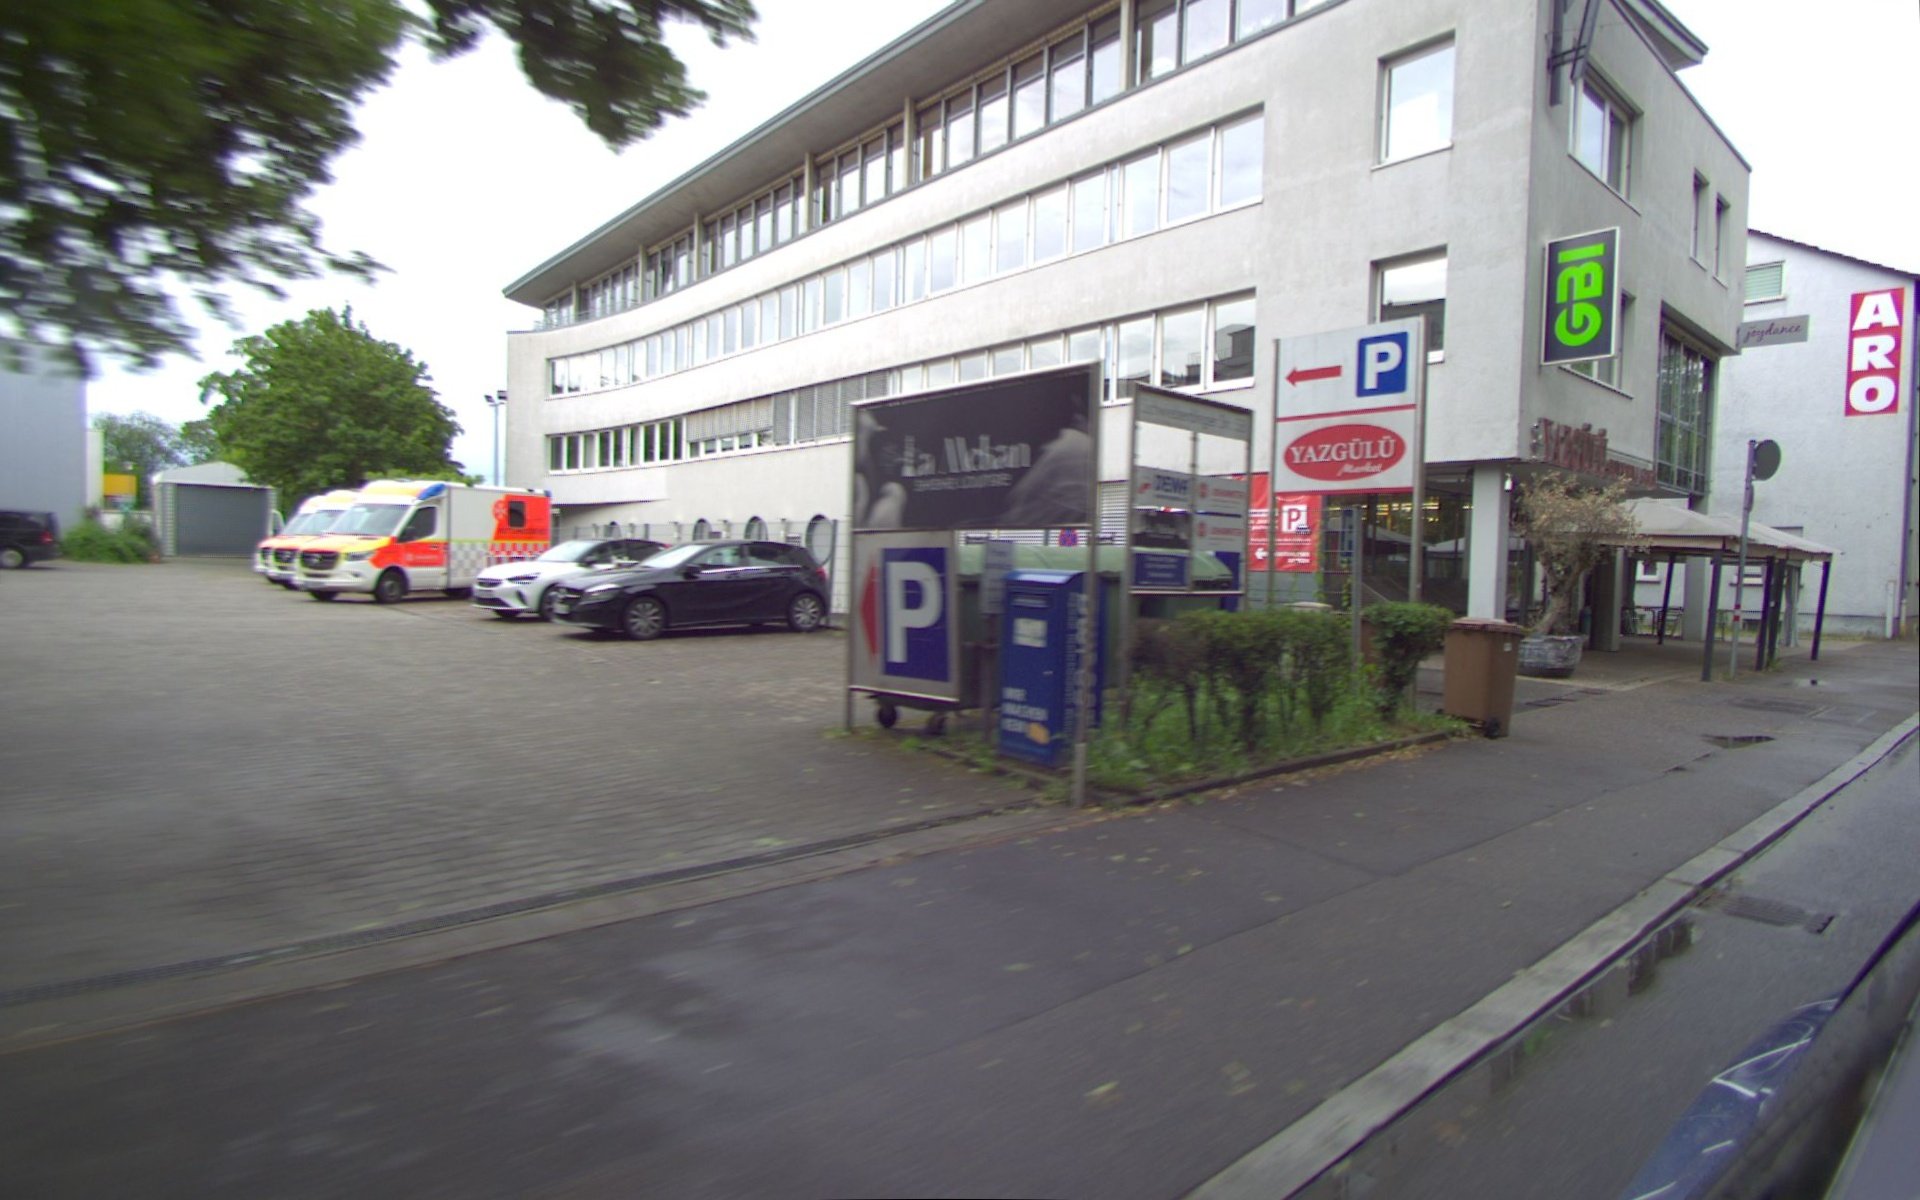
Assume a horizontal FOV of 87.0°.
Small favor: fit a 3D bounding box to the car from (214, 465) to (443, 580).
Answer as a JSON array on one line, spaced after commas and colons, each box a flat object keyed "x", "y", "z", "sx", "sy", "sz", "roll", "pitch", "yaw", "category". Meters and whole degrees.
[{"x": -19.364, "y": -2.229, "z": 31.491, "sx": 2.110, "sy": 3.163, "sz": 6.164, "roll": 0, "pitch": 1, "yaw": 17, "category": "car"}]

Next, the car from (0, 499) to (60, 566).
[{"x": -30.825, "y": -2.103, "z": 31.644, "sx": 3.930, "sy": 2.039, "sz": 1.997, "roll": -1, "pitch": 1, "yaw": -41, "category": "car"}]

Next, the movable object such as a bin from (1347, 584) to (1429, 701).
[{"x": 4.342, "y": 0.416, "z": 10.268, "sx": 0.551, "sy": 1.129, "sz": 0.532, "roll": 0, "pitch": 2, "yaw": -38, "category": "movable object such as a bin"}]

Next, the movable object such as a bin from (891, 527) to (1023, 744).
[{"x": -0.028, "y": 0.230, "z": 7.575, "sx": 0.615, "sy": 1.519, "sz": 0.738, "roll": 0, "pitch": 2, "yaw": -44, "category": "movable object such as a bin"}]

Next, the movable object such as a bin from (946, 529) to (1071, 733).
[{"x": 0.381, "y": 0.215, "z": 8.058, "sx": 0.615, "sy": 1.526, "sz": 0.738, "roll": 0, "pitch": 2, "yaw": -44, "category": "movable object such as a bin"}]

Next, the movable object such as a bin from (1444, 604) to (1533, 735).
[{"x": 4.872, "y": 0.615, "z": 9.336, "sx": 0.607, "sy": 1.129, "sz": 0.505, "roll": 0, "pitch": 2, "yaw": -41, "category": "movable object such as a bin"}]

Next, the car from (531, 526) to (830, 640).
[{"x": -4.122, "y": -0.316, "z": 15.302, "sx": 4.062, "sy": 1.504, "sz": 1.667, "roll": -2, "pitch": 4, "yaw": -41, "category": "car"}]

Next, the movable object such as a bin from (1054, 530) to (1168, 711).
[{"x": 1.337, "y": 0.154, "z": 8.976, "sx": 0.615, "sy": 1.526, "sz": 0.738, "roll": 0, "pitch": 2, "yaw": -44, "category": "movable object such as a bin"}]

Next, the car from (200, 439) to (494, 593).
[{"x": -14.294, "y": -1.789, "z": 24.217, "sx": 2.110, "sy": 3.163, "sz": 6.164, "roll": 0, "pitch": 1, "yaw": 17, "category": "car"}]

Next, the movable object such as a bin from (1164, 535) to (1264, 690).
[{"x": 2.613, "y": 0.108, "z": 10.432, "sx": 0.615, "sy": 1.526, "sz": 0.738, "roll": 0, "pitch": 2, "yaw": -44, "category": "movable object such as a bin"}]

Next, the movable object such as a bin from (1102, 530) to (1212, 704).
[{"x": 1.826, "y": 0.132, "z": 9.406, "sx": 0.615, "sy": 1.526, "sz": 0.738, "roll": 0, "pitch": 2, "yaw": -44, "category": "movable object such as a bin"}]

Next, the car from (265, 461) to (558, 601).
[{"x": -12.162, "y": -1.406, "z": 23.138, "sx": 2.110, "sy": 2.734, "sz": 6.164, "roll": 0, "pitch": 1, "yaw": 17, "category": "car"}]

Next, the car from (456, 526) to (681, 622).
[{"x": -6.826, "y": -0.471, "z": 17.928, "sx": 1.512, "sy": 1.504, "sz": 3.476, "roll": 3, "pitch": 3, "yaw": 34, "category": "car"}]

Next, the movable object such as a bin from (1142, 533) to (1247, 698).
[{"x": 2.283, "y": 0.124, "z": 9.862, "sx": 0.615, "sy": 1.526, "sz": 0.738, "roll": 0, "pitch": 2, "yaw": -44, "category": "movable object such as a bin"}]

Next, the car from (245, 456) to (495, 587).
[{"x": -15.935, "y": -1.961, "z": 27.883, "sx": 2.110, "sy": 3.163, "sz": 6.164, "roll": 0, "pitch": 1, "yaw": 17, "category": "car"}]

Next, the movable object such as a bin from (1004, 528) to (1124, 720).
[{"x": 0.873, "y": 0.169, "z": 8.522, "sx": 0.615, "sy": 1.526, "sz": 0.738, "roll": 0, "pitch": 2, "yaw": -44, "category": "movable object such as a bin"}]
